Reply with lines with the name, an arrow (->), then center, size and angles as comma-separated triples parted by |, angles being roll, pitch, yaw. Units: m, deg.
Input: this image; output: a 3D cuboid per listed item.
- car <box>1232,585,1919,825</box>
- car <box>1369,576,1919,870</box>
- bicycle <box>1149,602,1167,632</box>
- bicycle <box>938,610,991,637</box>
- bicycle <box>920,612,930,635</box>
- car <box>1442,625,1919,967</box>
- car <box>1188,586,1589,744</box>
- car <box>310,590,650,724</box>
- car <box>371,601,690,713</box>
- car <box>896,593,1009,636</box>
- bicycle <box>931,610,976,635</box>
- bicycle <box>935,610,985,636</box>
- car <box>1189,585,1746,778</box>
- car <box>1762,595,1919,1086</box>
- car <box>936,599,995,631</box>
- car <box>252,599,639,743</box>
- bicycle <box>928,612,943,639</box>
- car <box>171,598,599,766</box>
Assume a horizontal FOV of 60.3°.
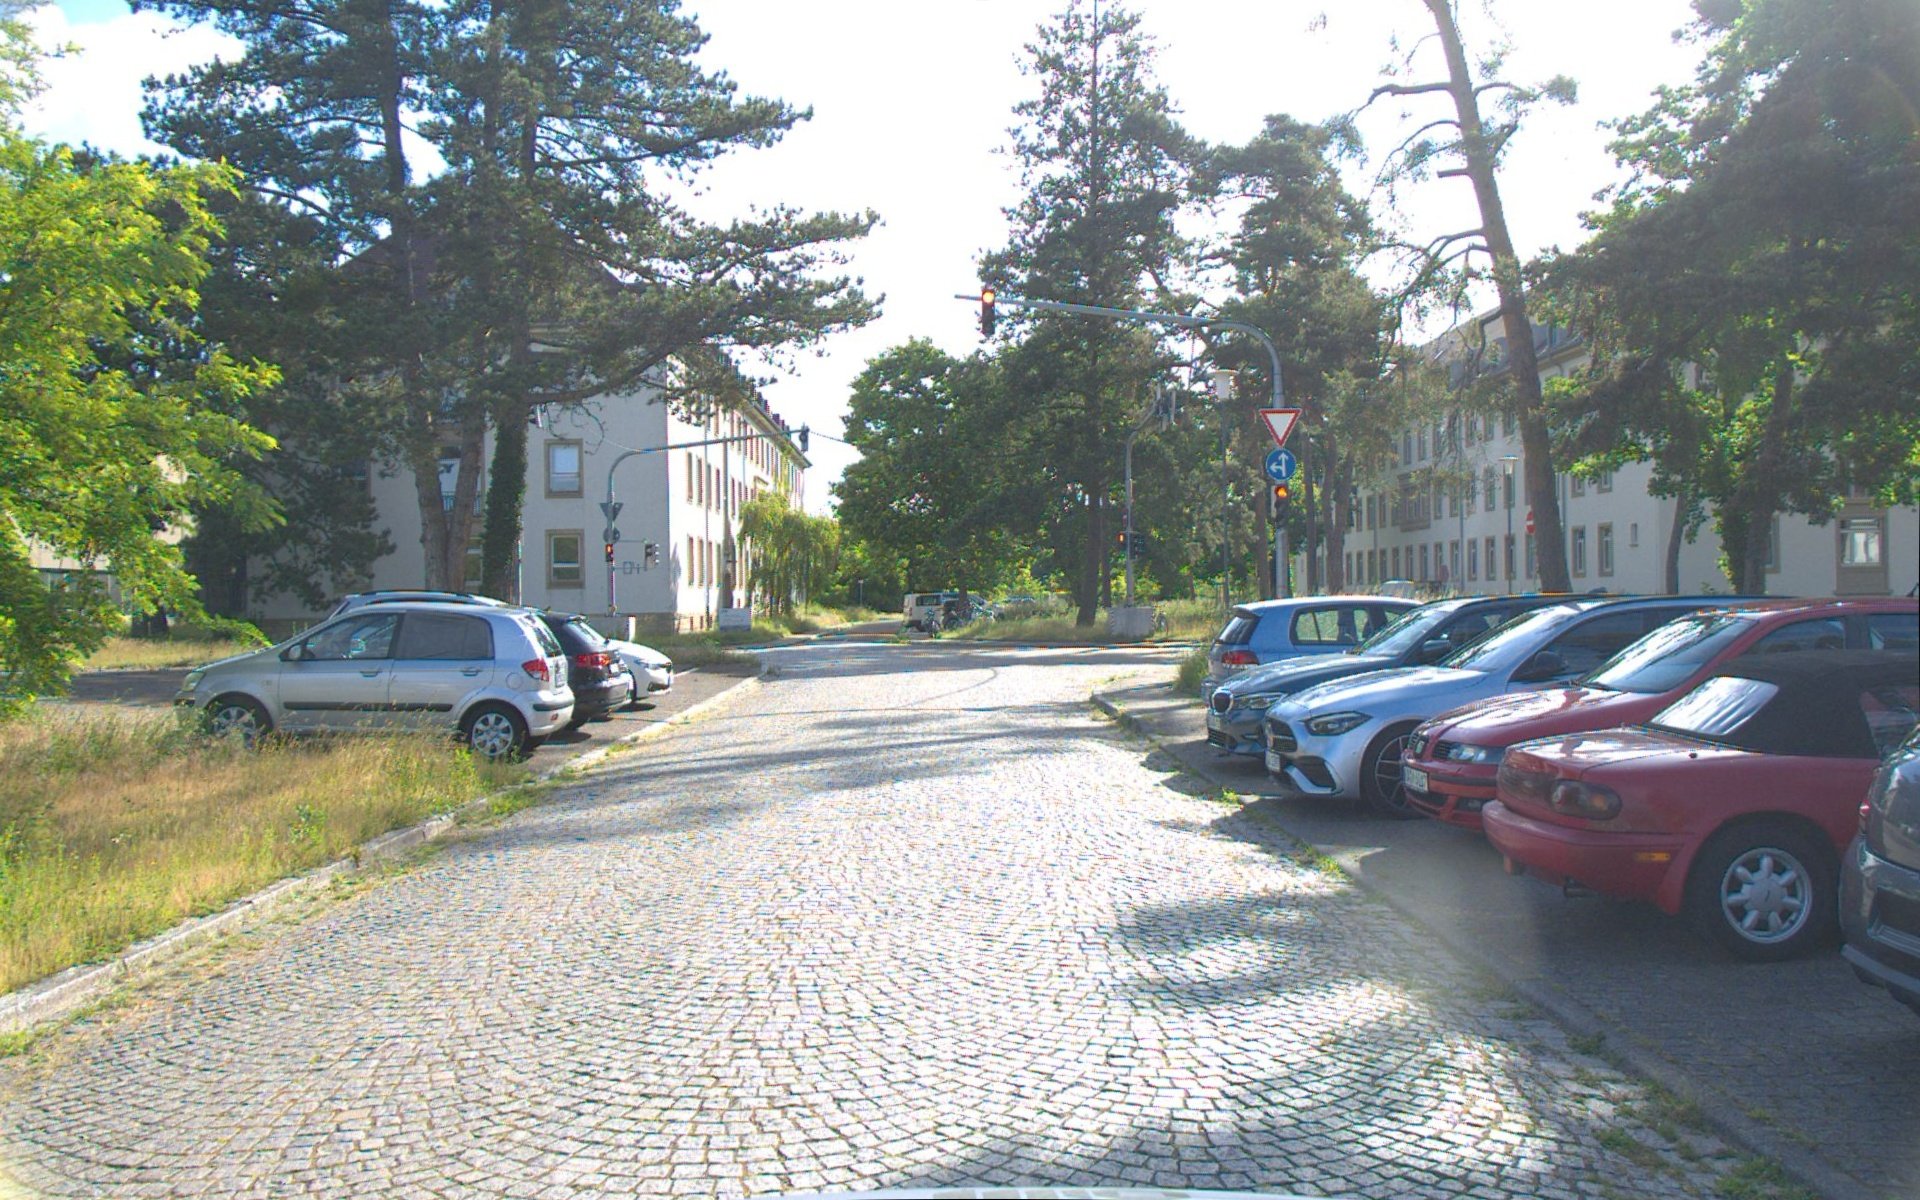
car -> 4.340, 0.704, 12.139 | 4.342, 1.440, 1.780 | -3, 0, -1
car -> 4.709, 0.658, 9.960 | 4.043, 1.474, 1.636 | -3, 0, -1
bicycle -> 6.511, 0.566, 54.448 | 0.294, 0.977, 1.584 | 1, -1, -4
bicycle -> 0.176, 0.933, 66.489 | 2.070, 1.028, 0.620 | 1, -1, -9
bicycle -> -1.588, 1.089, 76.045 | 0.409, 1.028, 1.483 | 1, -1, 0
car -> 4.319, 0.789, 7.656 | 3.632, 1.244, 1.746 | -3, 0, -1
car -> 4.474, 0.656, 17.637 | 3.803, 1.440, 1.636 | -3, 0, -1
car -> -6.299, 0.729, 22.079 | 4.000, 1.621, 1.884 | 1, 0, -4
car -> -6.242, 0.812, 24.431 | 4.248, 1.494, 1.829 | 1, 0, -4
car -> -0.390, 0.754, 84.473 | 5.438, 2.049, 1.989 | 1, -1, -19
bicycle -> -0.283, 0.960, 69.886 | 1.803, 1.028, 0.635 | 1, -1, -9
bicycle -> -0.007, 0.947, 68.135 | 1.967, 1.028, 0.631 | 1, -1, -9
car -> 4.425, 0.685, 14.856 | 4.467, 1.440, 1.636 | -3, 0, -1
car -> 4.727, 0.673, 5.062 | 3.632, 1.474, 1.816 | -3, 0, -1
car -> 0.270, 0.736, 80.904 | 2.728, 1.492, 1.669 | 1, -1, -6
car -> -5.828, 0.786, 19.126 | 3.908, 1.506, 1.802 | 1, 0, -4
bicycle -> -0.936, 0.958, 62.828 | 0.458, 1.028, 1.584 | 1, -1, -4
car -> -5.599, 0.784, 16.460 | 3.672, 1.513, 1.644 | 1, 0, -4
